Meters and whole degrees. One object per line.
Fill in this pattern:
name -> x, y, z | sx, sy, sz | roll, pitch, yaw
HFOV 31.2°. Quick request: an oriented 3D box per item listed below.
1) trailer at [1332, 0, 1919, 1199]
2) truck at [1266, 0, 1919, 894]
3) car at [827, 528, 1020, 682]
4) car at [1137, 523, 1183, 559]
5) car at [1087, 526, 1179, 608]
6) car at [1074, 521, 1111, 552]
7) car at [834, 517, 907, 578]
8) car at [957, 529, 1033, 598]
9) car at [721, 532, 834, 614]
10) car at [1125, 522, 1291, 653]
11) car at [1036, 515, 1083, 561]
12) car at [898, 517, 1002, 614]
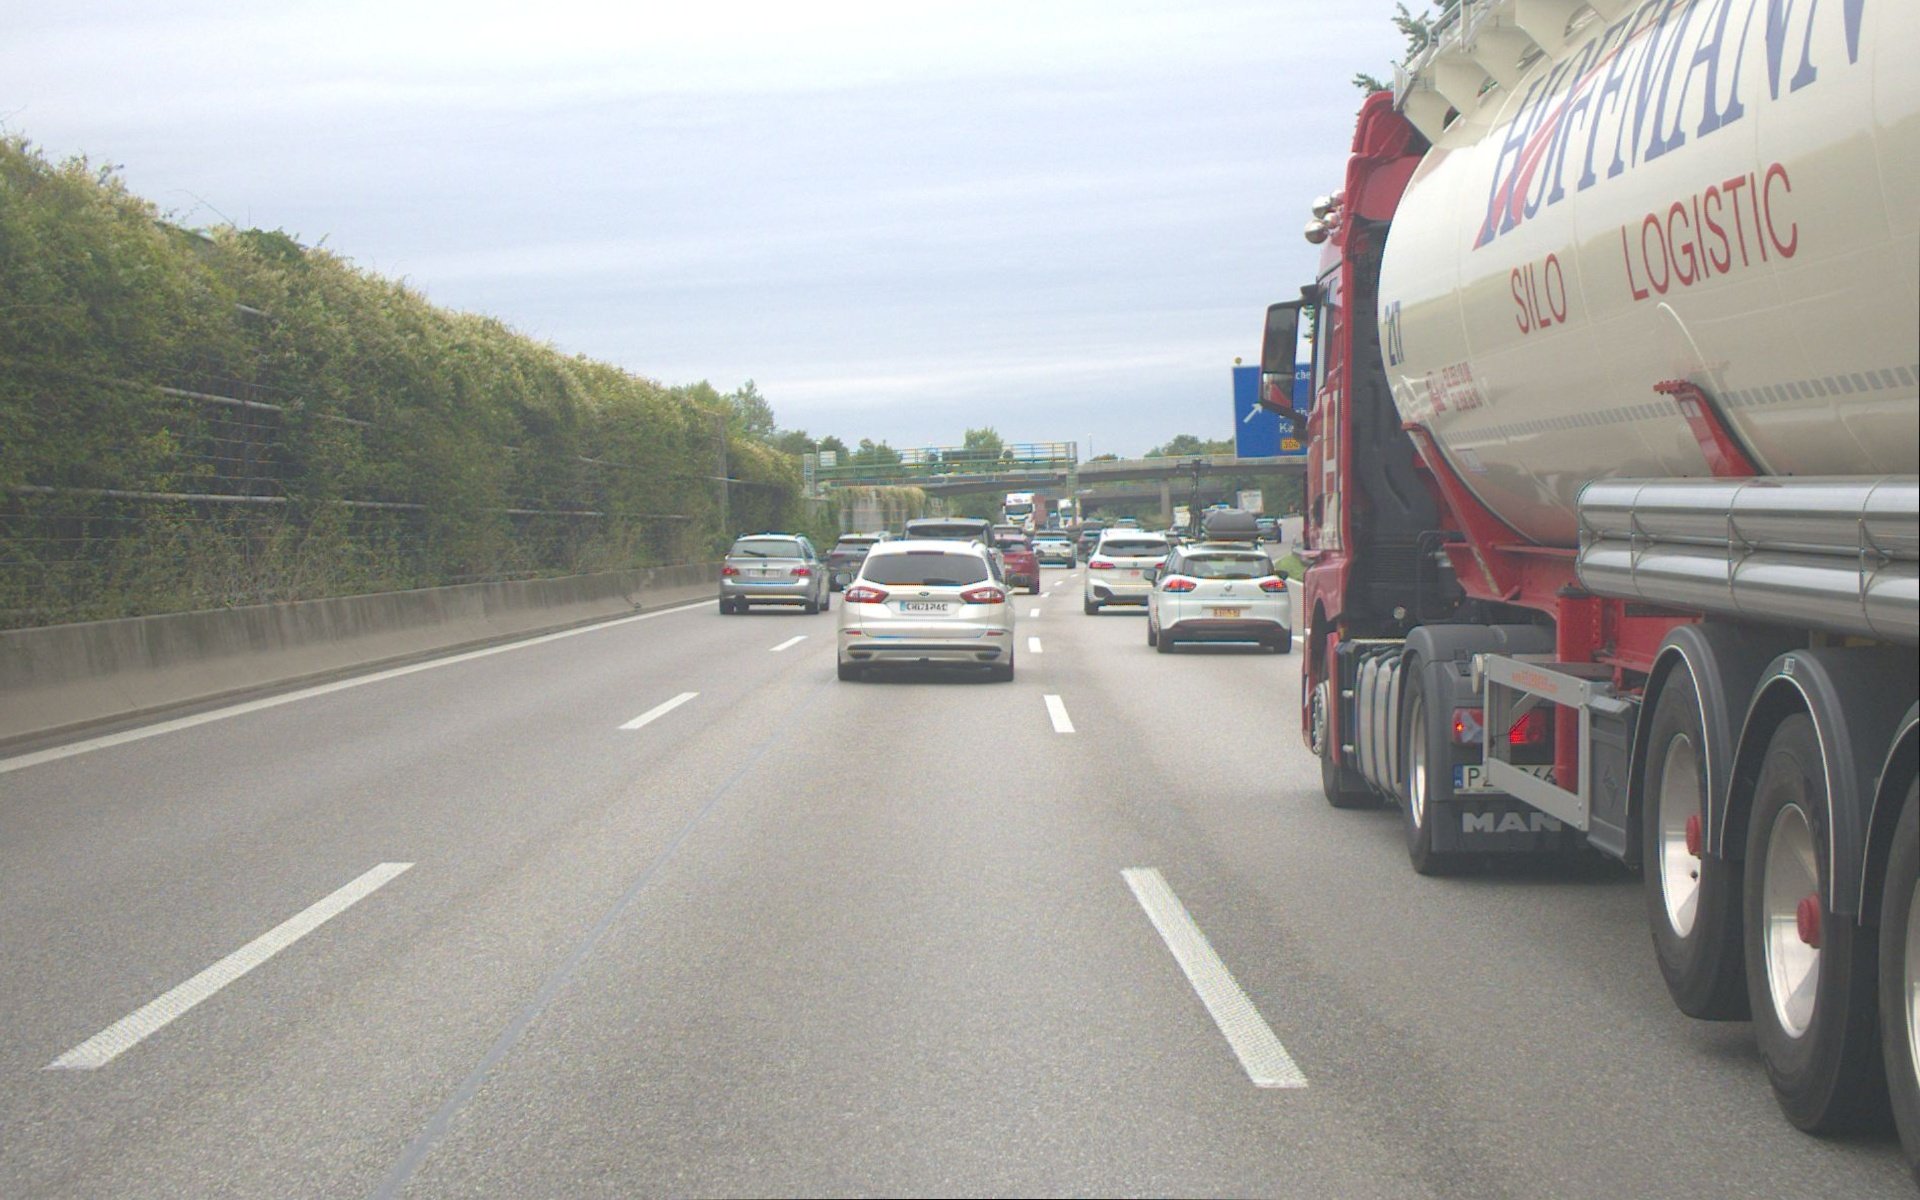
trailer -> 3.286, -0.704, 10.896 | 2.668, 3.925, 13.131 | 0, 1, 0
truck -> 3.225, -0.757, 17.742 | 2.695, 3.899, 6.556 | 0, 1, 0
car -> -0.411, 0.004, 36.831 | 1.891, 1.499, 5.030 | 1, 1, -1
car -> 8.769, -2.578, 150.482 | 1.689, 1.534, 3.870 | 0, 1, 8
car -> 3.265, -0.629, 65.109 | 1.689, 1.501, 3.871 | 0, 1, 3
car -> 6.566, -3.153, 170.493 | 1.689, 1.534, 3.871 | 0, 1, 0
car -> -2.266, -1.349, 88.085 | 1.720, 1.507, 5.030 | 0, 1, 0
car -> 0.874, -0.921, 84.385 | 1.689, 1.501, 3.871 | 4, 2, 2
car -> -3.386, -0.491, 64.548 | 1.720, 1.464, 5.030 | 0, 0, 1
car -> 3.222, -0.200, 45.500 | 1.816, 1.620, 5.030 | 0, 1, 0
car -> 4.035, -2.483, 138.609 | 1.790, 1.773, 3.871 | -1, 1, 3
car -> -0.183, -0.627, 60.494 | 1.689, 1.501, 3.872 | 4, 2, 0
